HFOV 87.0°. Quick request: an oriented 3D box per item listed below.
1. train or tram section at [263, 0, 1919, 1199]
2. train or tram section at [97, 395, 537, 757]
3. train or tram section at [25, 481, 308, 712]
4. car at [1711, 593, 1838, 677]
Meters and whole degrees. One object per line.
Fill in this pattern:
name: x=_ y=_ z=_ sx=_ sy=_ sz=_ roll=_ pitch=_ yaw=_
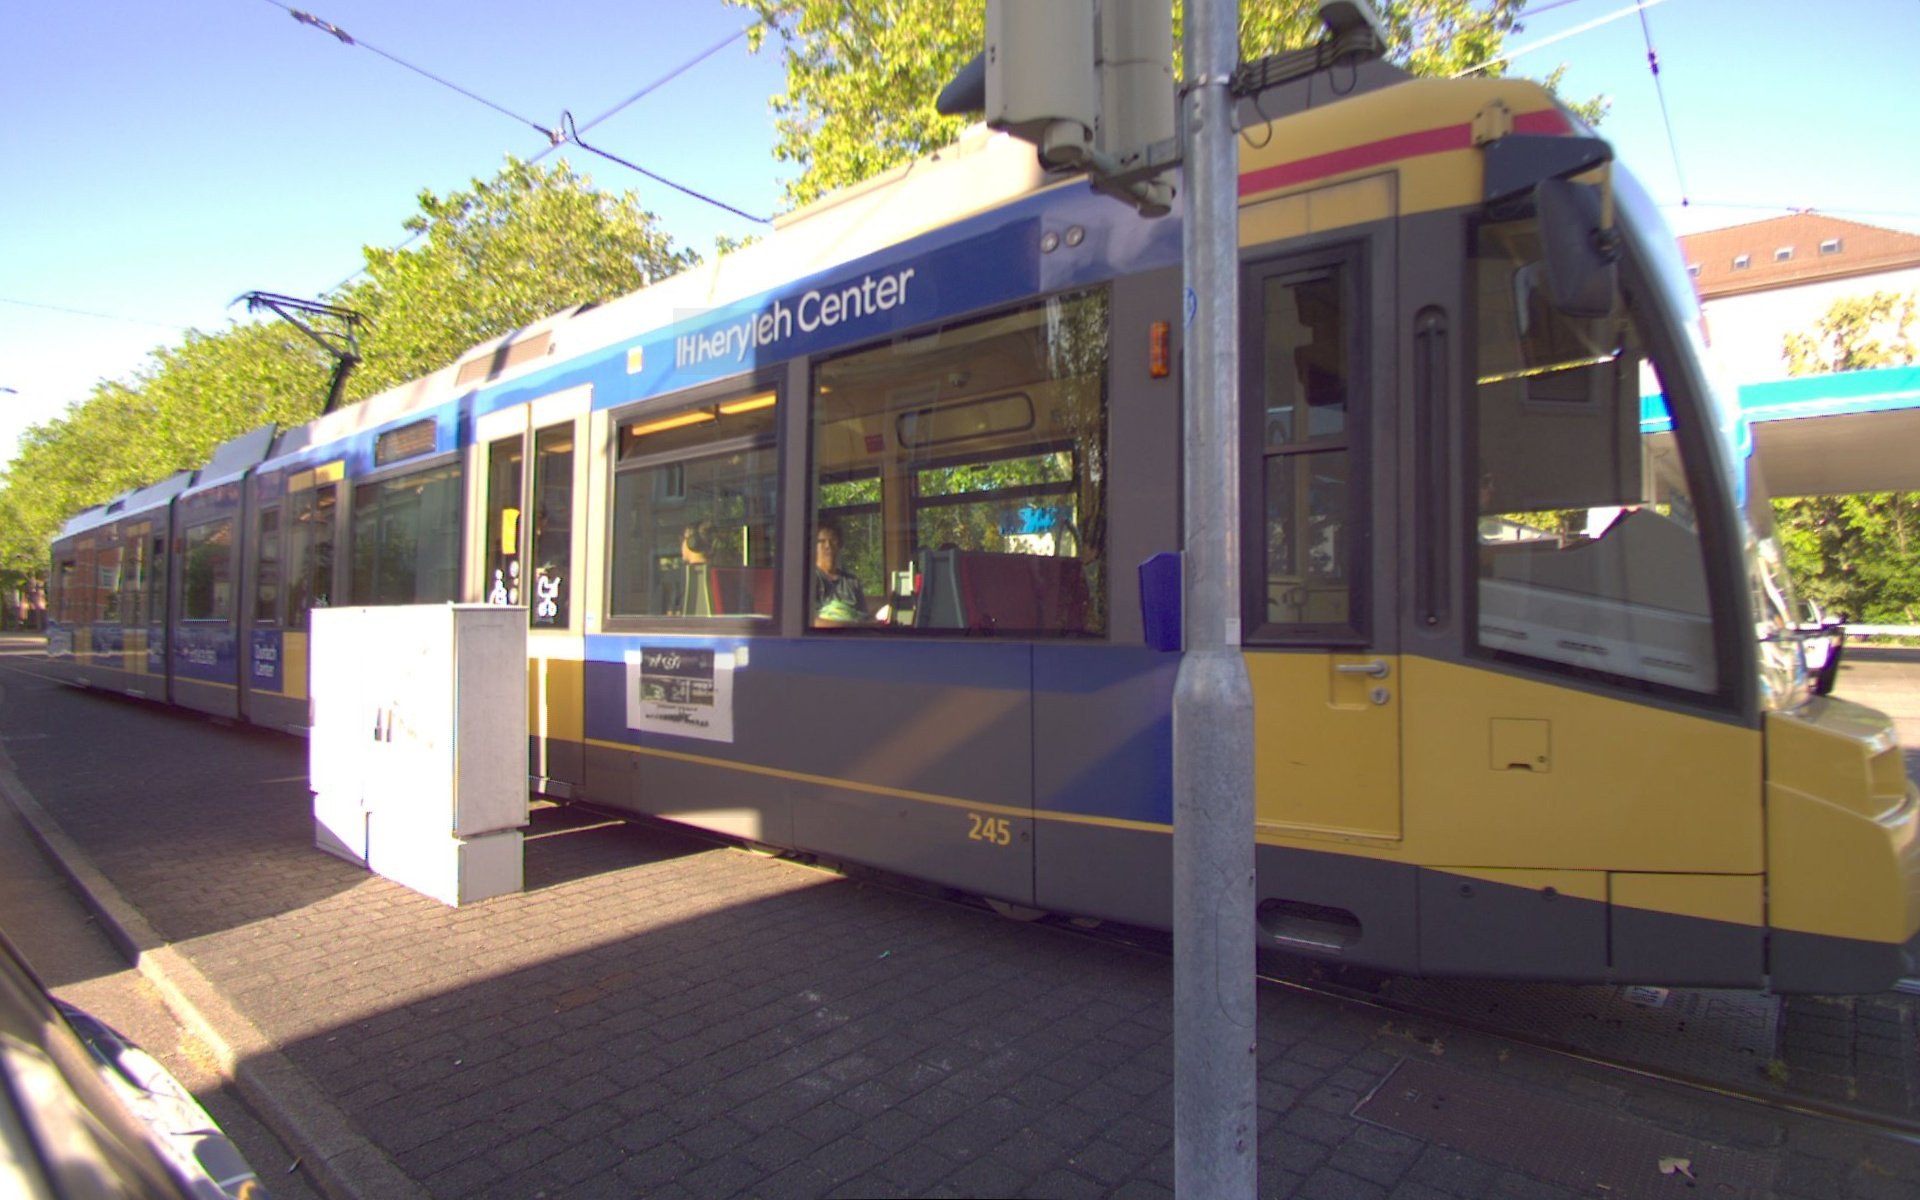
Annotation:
train or tram section: x=-1.438 y=-0.373 z=6.950 sx=12.025 sy=3.526 sz=2.741 roll=-2 pitch=-2 yaw=42
train or tram section: x=-9.080 y=-0.144 z=13.710 sx=8.458 sy=3.526 sz=2.785 roll=-2 pitch=-2 yaw=41
train or tram section: x=-15.209 y=0.032 z=19.124 sx=7.958 sy=3.526 sz=2.785 roll=-2 pitch=-2 yaw=41
car: x=15.999 y=0.645 z=19.847 sx=1.780 sy=1.475 sz=3.946 roll=-1 pitch=-1 yaw=40
